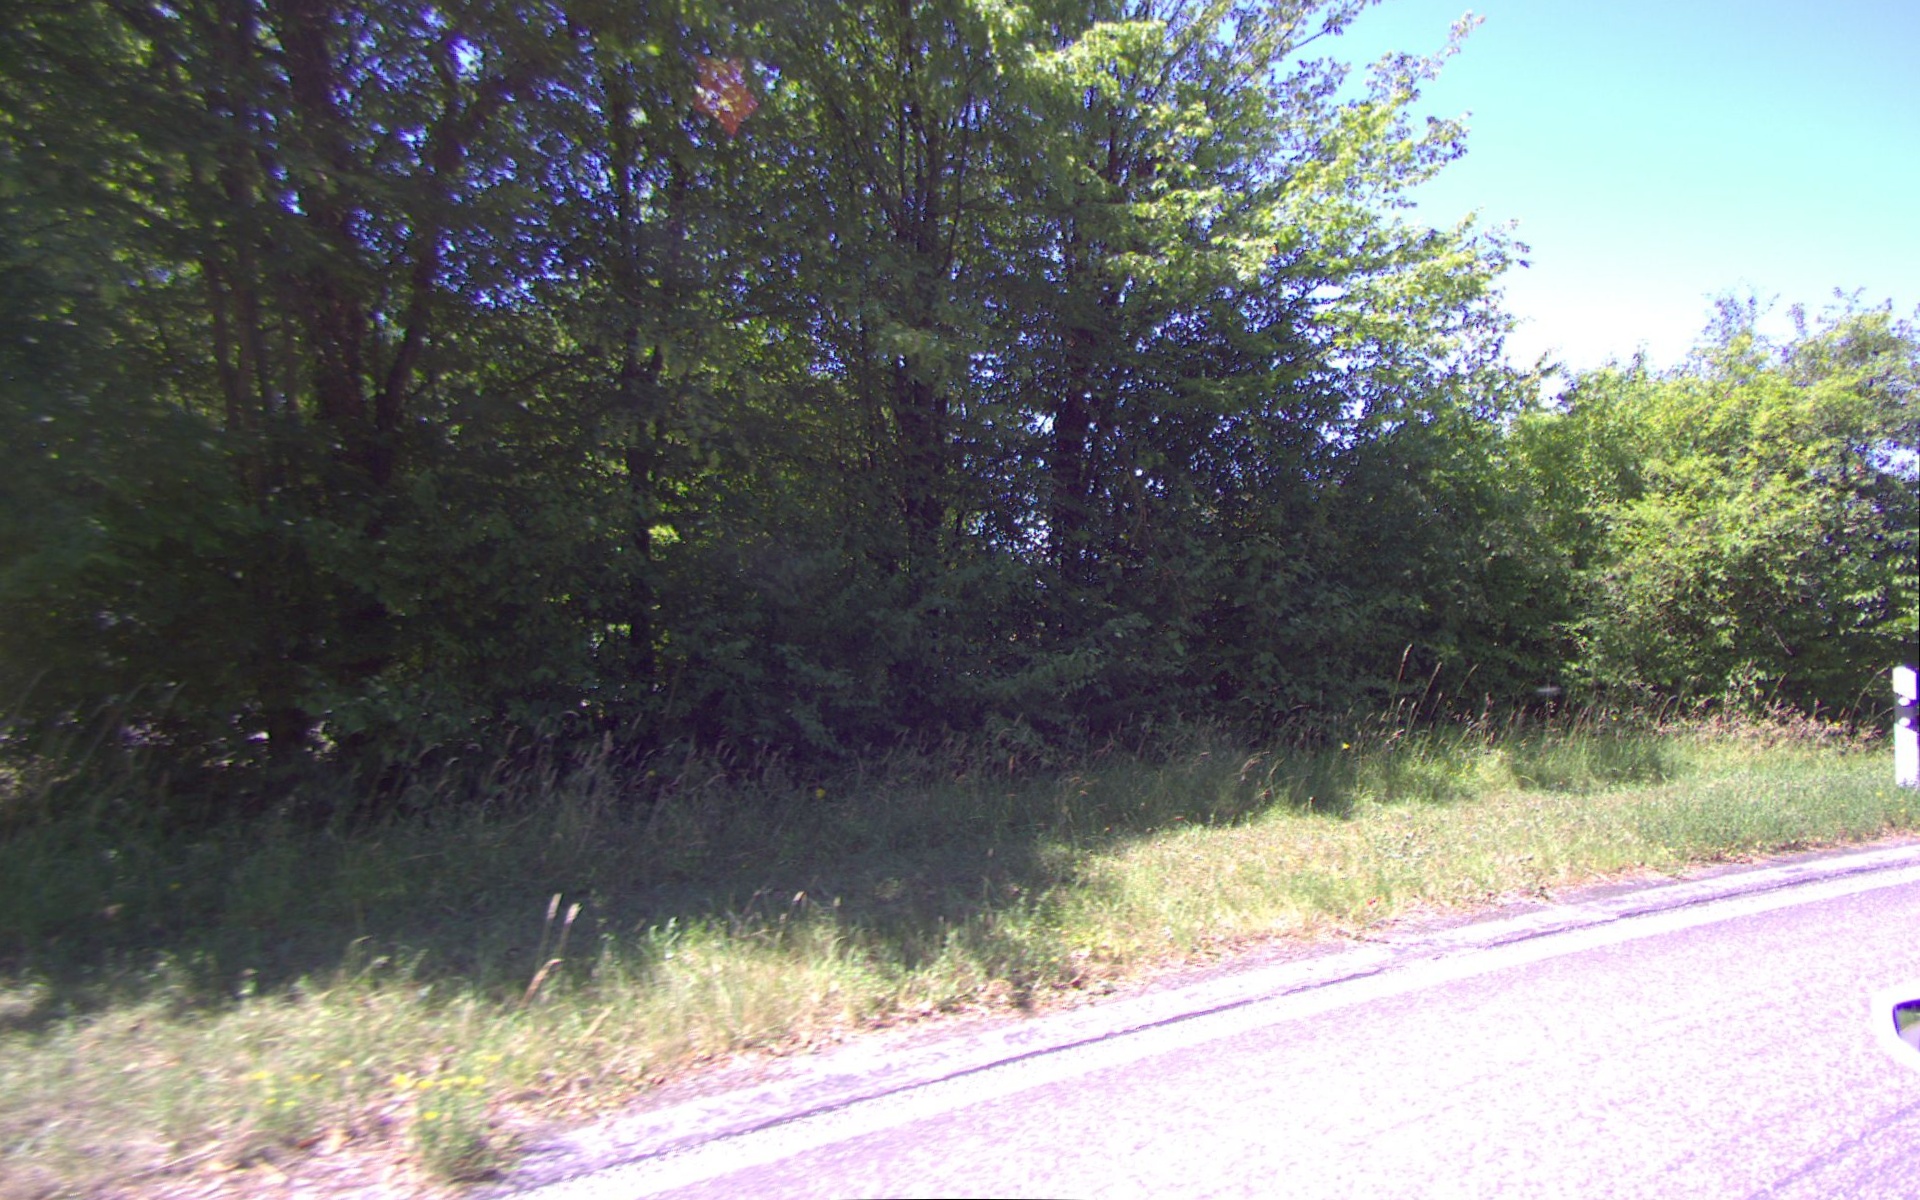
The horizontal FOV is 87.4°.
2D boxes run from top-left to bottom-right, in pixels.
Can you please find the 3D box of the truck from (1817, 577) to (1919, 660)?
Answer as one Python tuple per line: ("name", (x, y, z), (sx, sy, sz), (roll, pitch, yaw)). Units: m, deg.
("truck", (35.833, 0.702, 37.301), (2.230, 3.024, 5.825), (1, -2, -41))
